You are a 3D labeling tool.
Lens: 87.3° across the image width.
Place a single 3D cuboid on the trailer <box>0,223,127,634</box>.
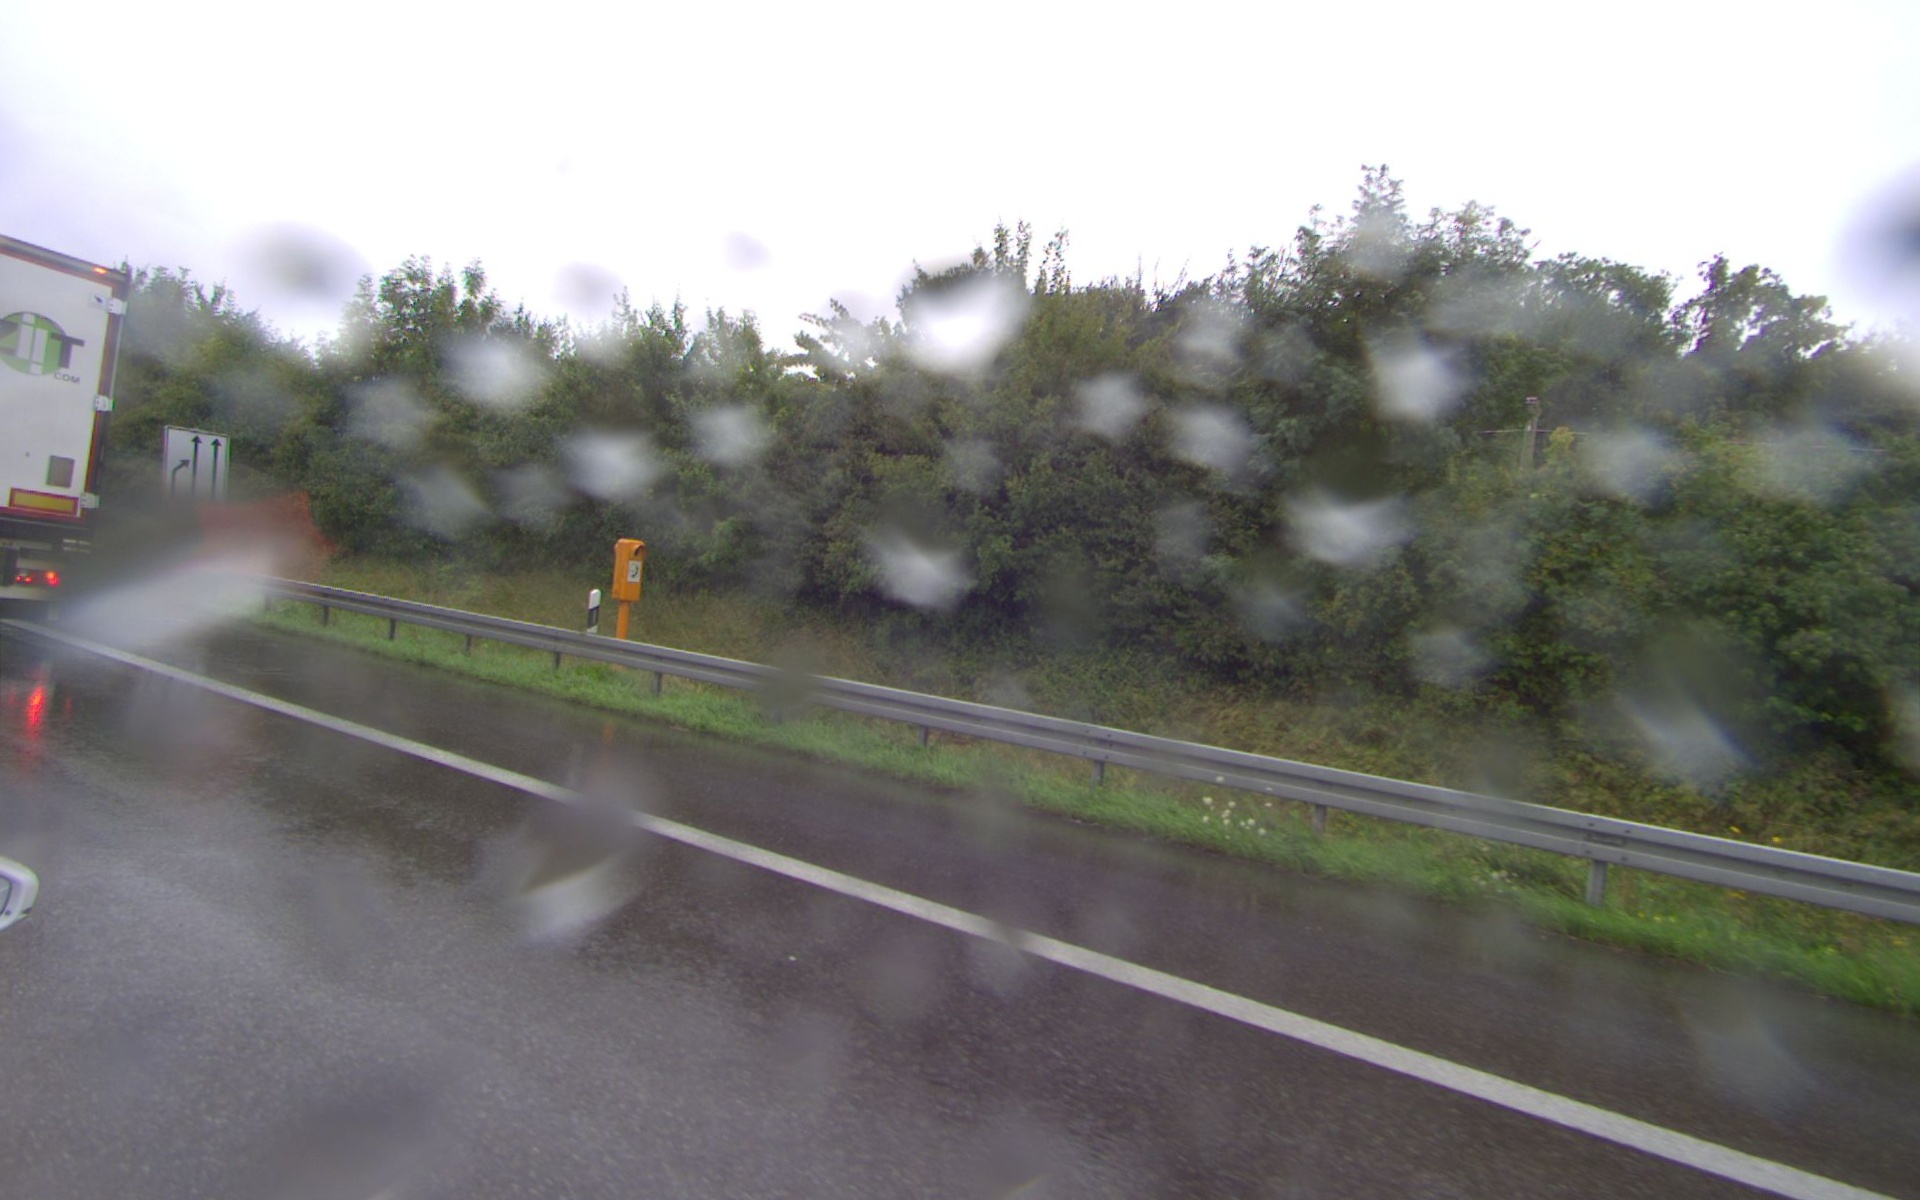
[{"bbox_3d":[-16.043,-2.506,13.521,14.385,4.061,2.635,7,0,31],"label":"trailer"}]
